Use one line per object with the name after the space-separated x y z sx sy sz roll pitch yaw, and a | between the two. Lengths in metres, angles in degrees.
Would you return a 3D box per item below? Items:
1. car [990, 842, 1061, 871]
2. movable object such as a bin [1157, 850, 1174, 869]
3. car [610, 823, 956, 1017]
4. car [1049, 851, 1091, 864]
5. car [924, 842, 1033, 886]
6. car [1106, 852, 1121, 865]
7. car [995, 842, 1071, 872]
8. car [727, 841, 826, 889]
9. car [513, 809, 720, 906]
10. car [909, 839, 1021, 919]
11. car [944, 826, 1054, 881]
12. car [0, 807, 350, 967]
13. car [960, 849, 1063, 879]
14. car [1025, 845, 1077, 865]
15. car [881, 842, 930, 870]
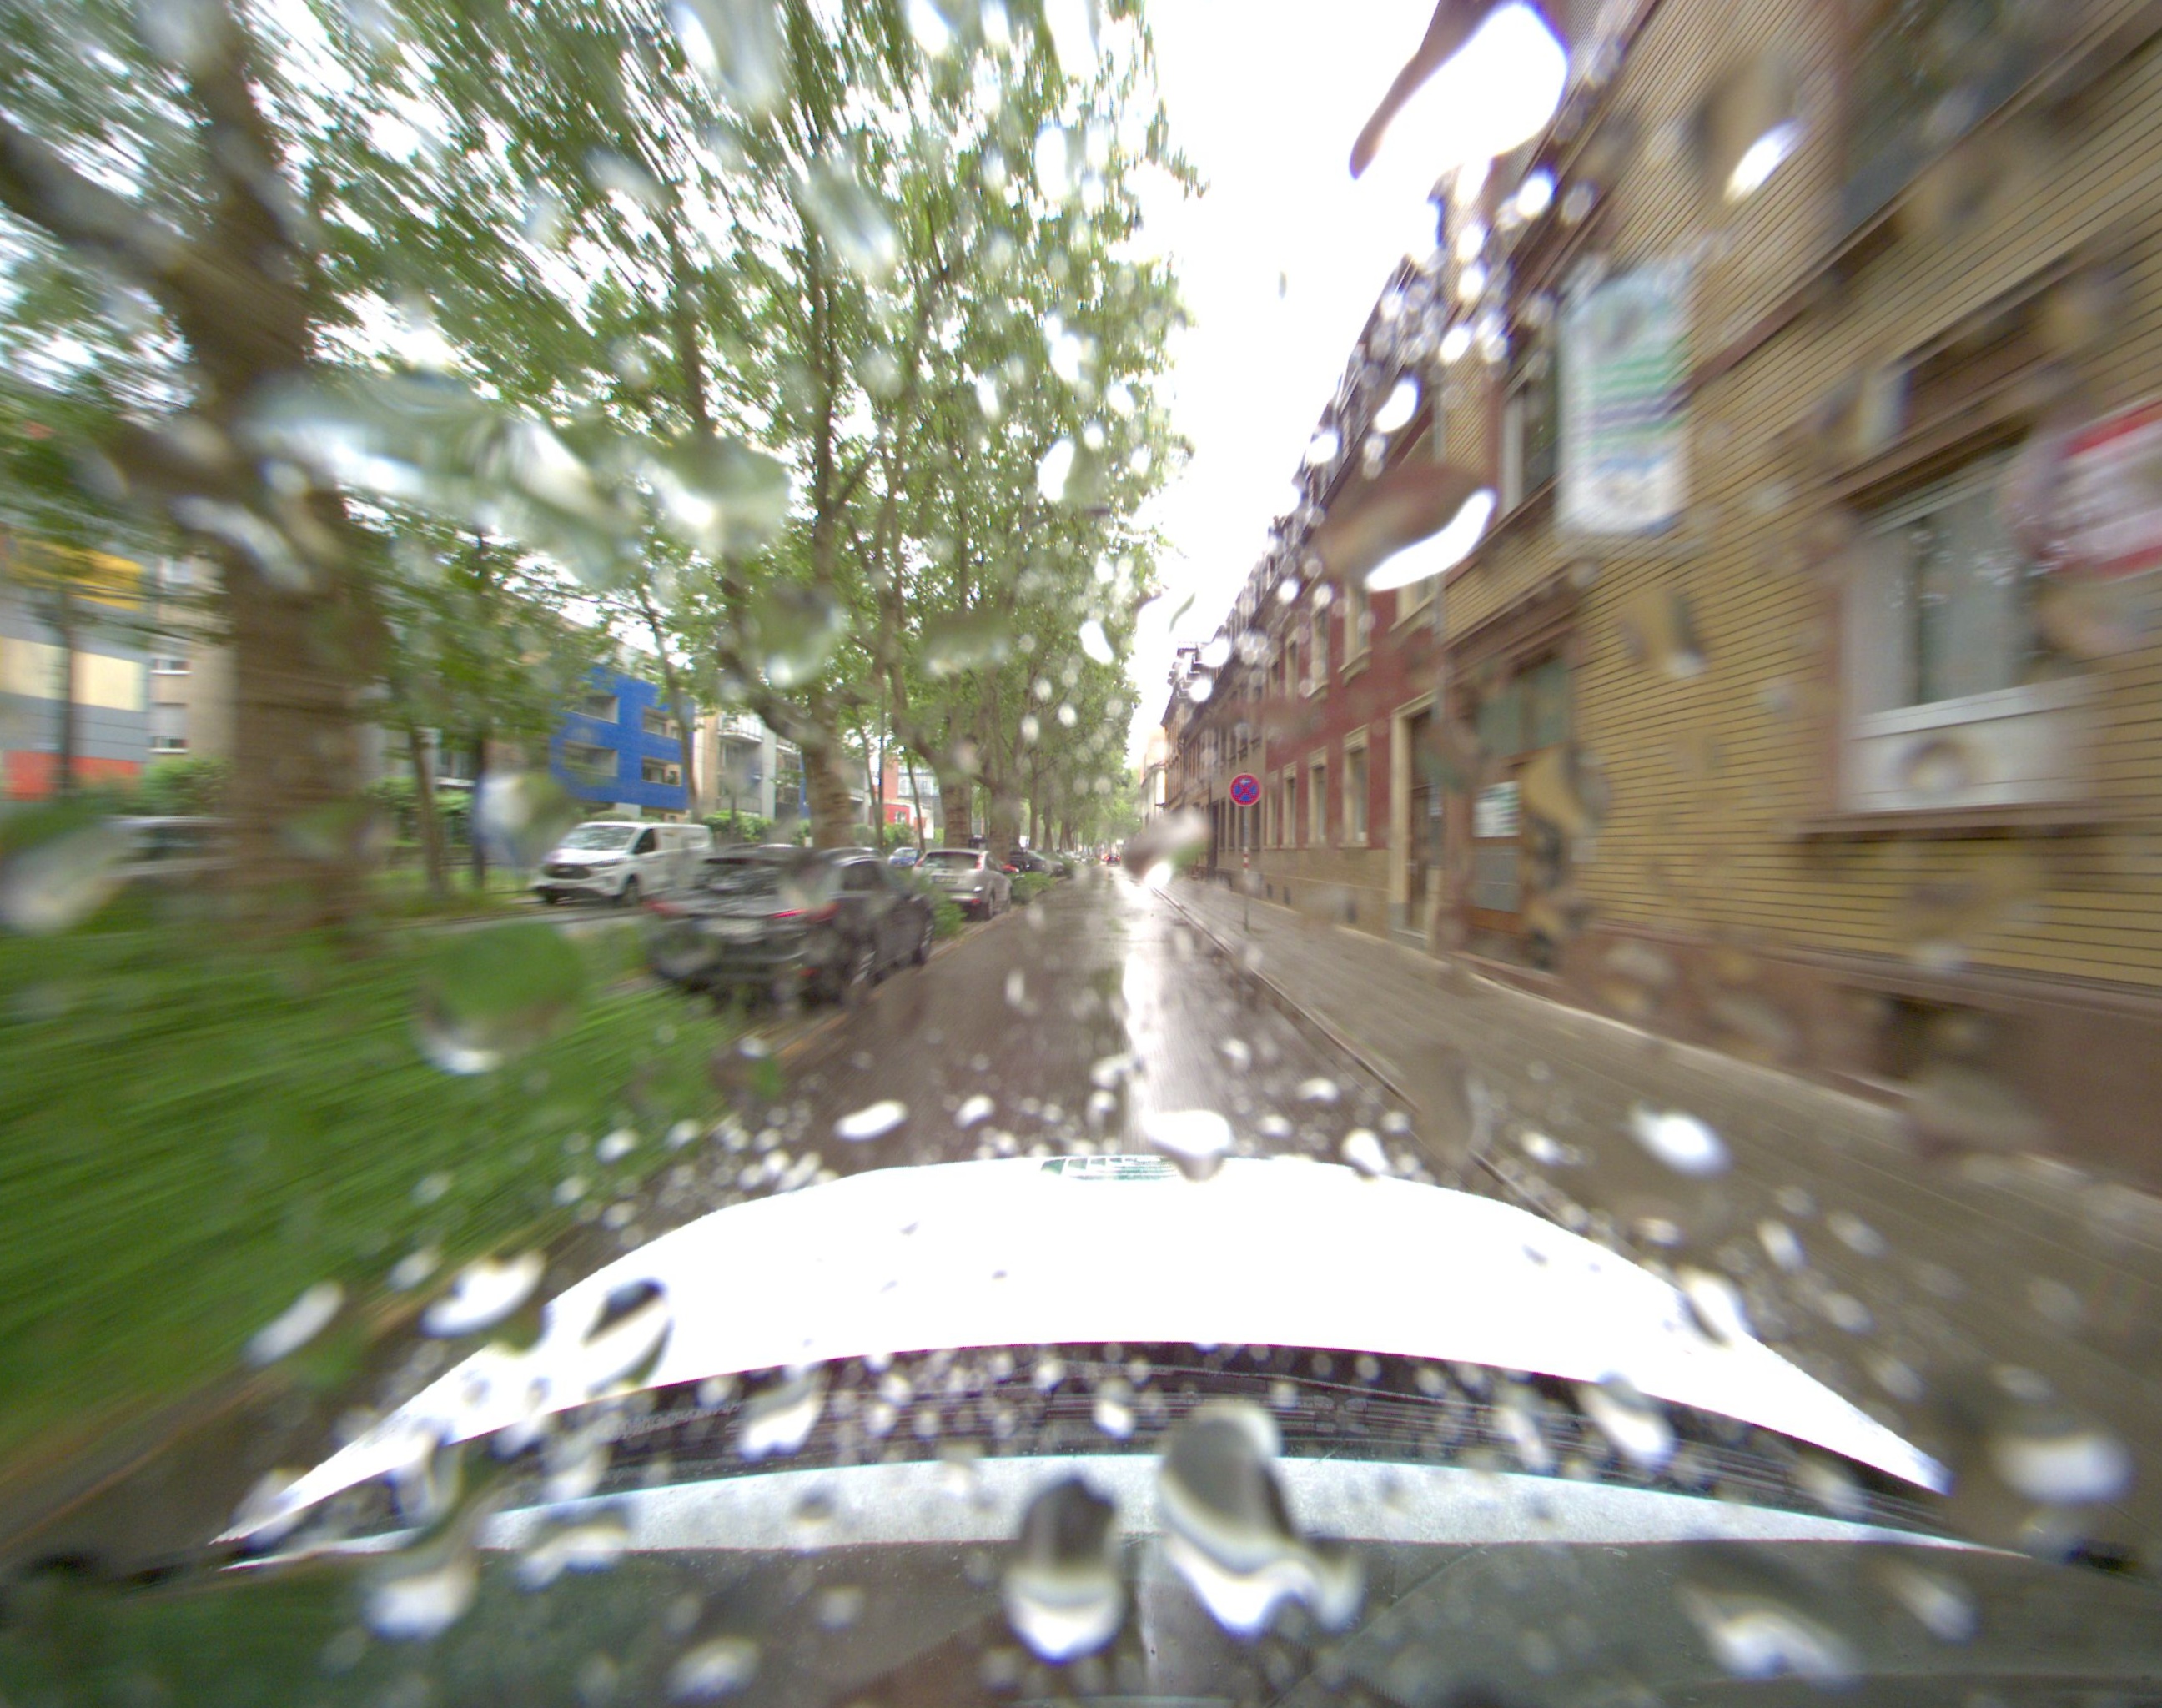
-3.009 0.118 44.432 3.469 1.467 1.651 1 0 23 | car
5.841 0.373 56.234 1.017 1.301 1.367 -2 0 2 | movable object such as a bin
-2.796 0.529 8.964 1.889 1.485 4.624 3 0 2 | car
-1.231 0.422 92.979 4.502 1.482 1.786 0 0 32 | car
-3.664 0.329 29.098 3.459 1.436 1.792 1 0 29 | car
4.323 0.597 108.332 1.986 1.640 4.001 2 0 2 | car
-2.798 0.172 47.158 4.014 1.537 1.847 2 1 32 | car
-10.905 0.353 29.530 1.898 1.534 4.216 2 0 1 | car
-11.246 0.063 20.341 2.048 1.997 5.431 3 0 -2 | car
-2.494 0.494 18.487 1.723 1.514 4.209 3 0 2 | car
-3.671 -0.060 36.045 4.600 2.283 2.024 1 0 35 | car
-11.725 0.296 9.664 1.897 1.600 4.470 2 0 2 | car
-3.350 0.456 38.807 4.601 1.326 1.858 1 0 29 | car
-3.094 0.128 83.538 5.066 1.977 2.116 0 0 33 | car
-10.407 0.092 48.595 1.898 1.534 4.216 2 0 1 | car
